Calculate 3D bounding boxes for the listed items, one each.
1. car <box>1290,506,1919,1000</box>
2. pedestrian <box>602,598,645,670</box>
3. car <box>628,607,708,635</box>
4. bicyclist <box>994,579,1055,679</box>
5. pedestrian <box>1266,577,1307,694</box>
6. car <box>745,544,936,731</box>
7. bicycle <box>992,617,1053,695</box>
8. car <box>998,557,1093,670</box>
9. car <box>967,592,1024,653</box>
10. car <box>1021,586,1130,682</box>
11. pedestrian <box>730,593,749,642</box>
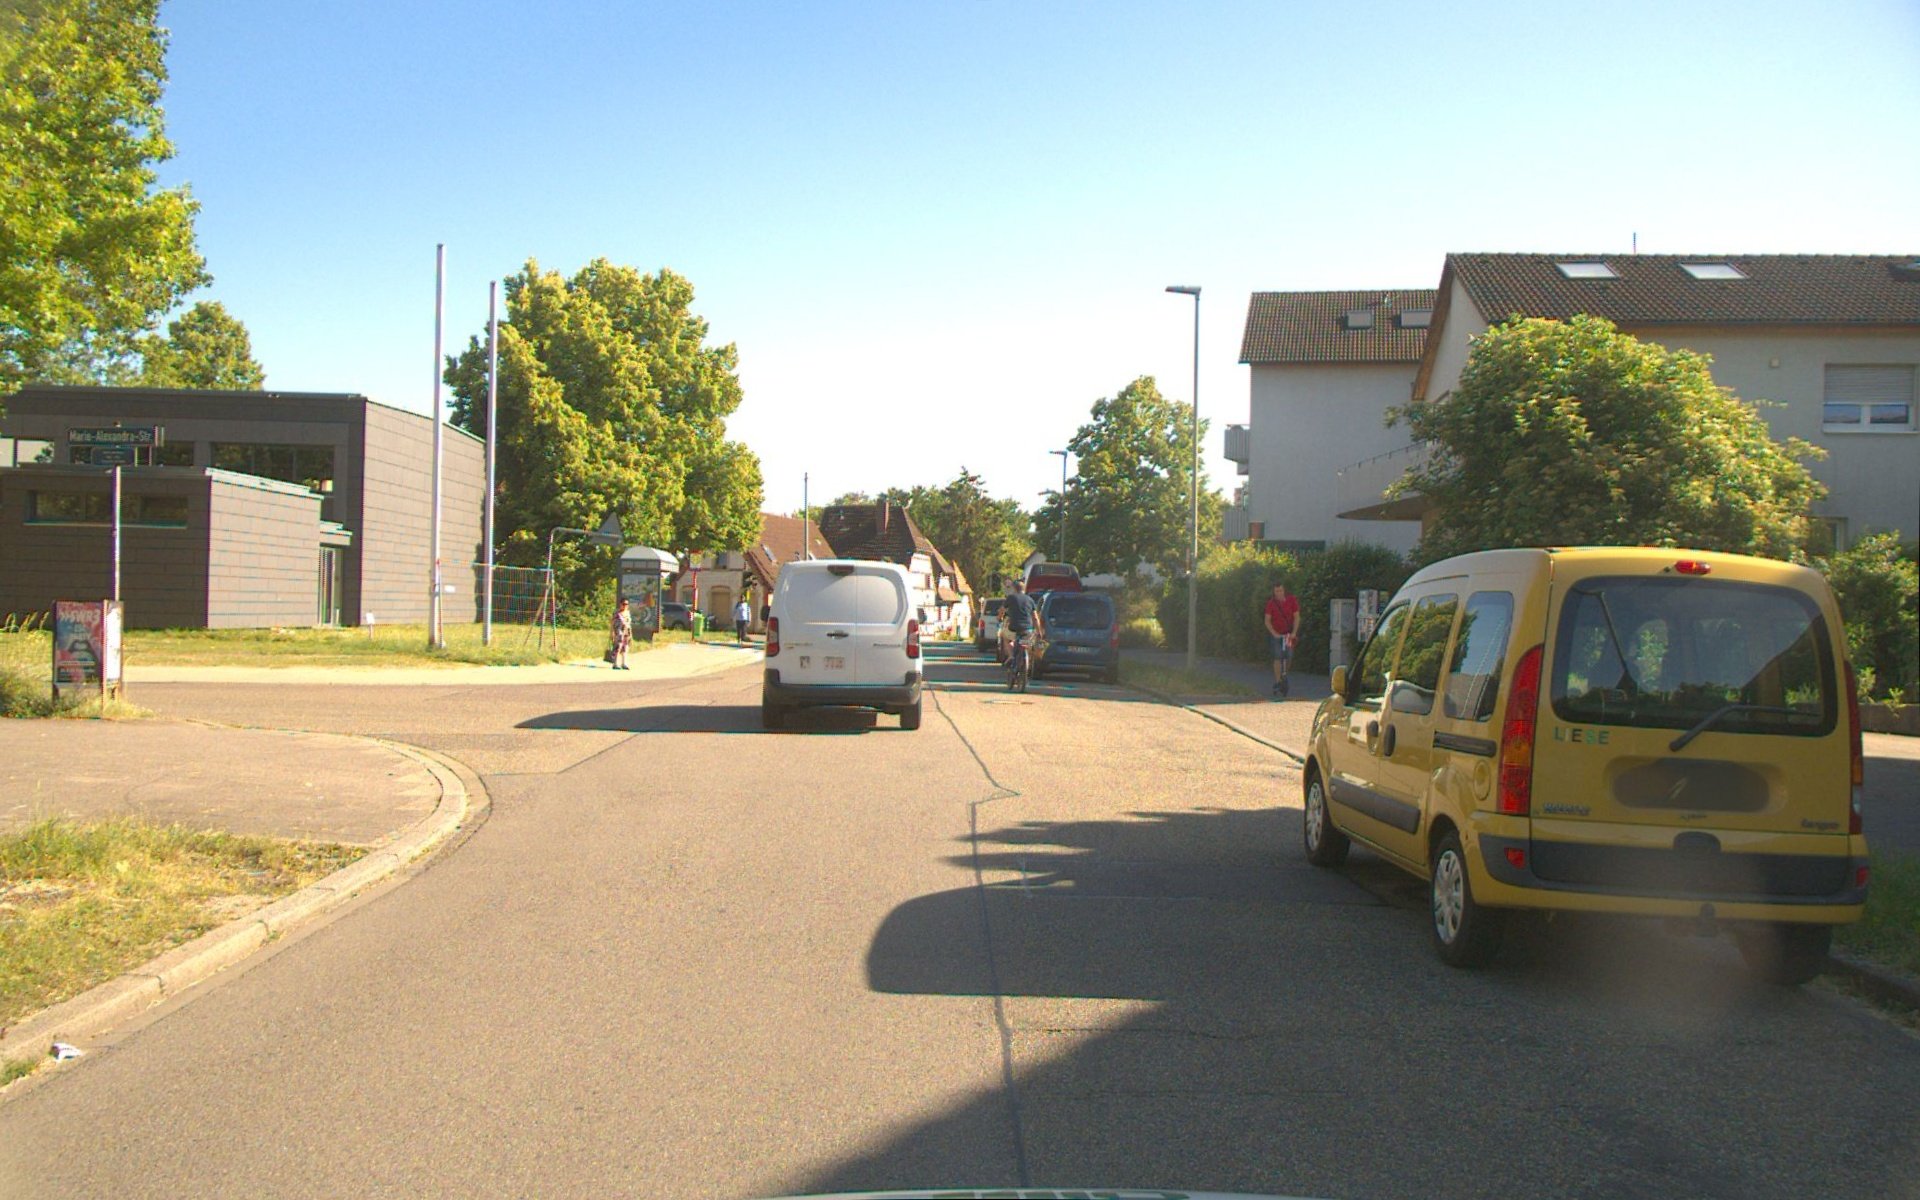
[{"bbox_3d":[2.944,0.600,8.403,1.689,1.869,4.000,1,0,0],"label":"car"},{"bbox_3d":[-7.076,0.719,34.806,0.500,1.471,0.637,4,0,32],"label":"pedestrian"},{"bbox_3d":[-15.934,1.137,90.300,3.893,1.454,1.716,1,0,17],"label":"car"},{"bbox_3d":[1.054,0.478,27.336,0.887,1.612,0.966,2,-1,-3],"label":"bicyclist"},{"bbox_3d":[5.290,0.572,26.810,0.474,1.863,0.486,-2,0,-3],"label":"pedestrian"},{"bbox_3d":[-1.407,0.394,19.526,1.954,1.914,4.285,2,0,-4],"label":"car"},{"bbox_3d":[1.013,0.905,27.378,0.771,1.158,2.279,2,0,-3],"label":"bicycle"},{"bbox_3d":[2.113,0.356,42.119,1.829,2.607,4.765,3,-1,-2],"label":"car"},{"bbox_3d":[1.275,0.841,61.210,1.768,2.105,3.998,3,-1,-2],"label":"car"},{"bbox_3d":[2.375,0.704,34.959,1.768,1.816,3.998,3,-1,-2],"label":"car"},{"bbox_3d":[-8.247,0.658,61.767,0.608,1.836,0.640,1,-2,-3],"label":"pedestrian"}]
